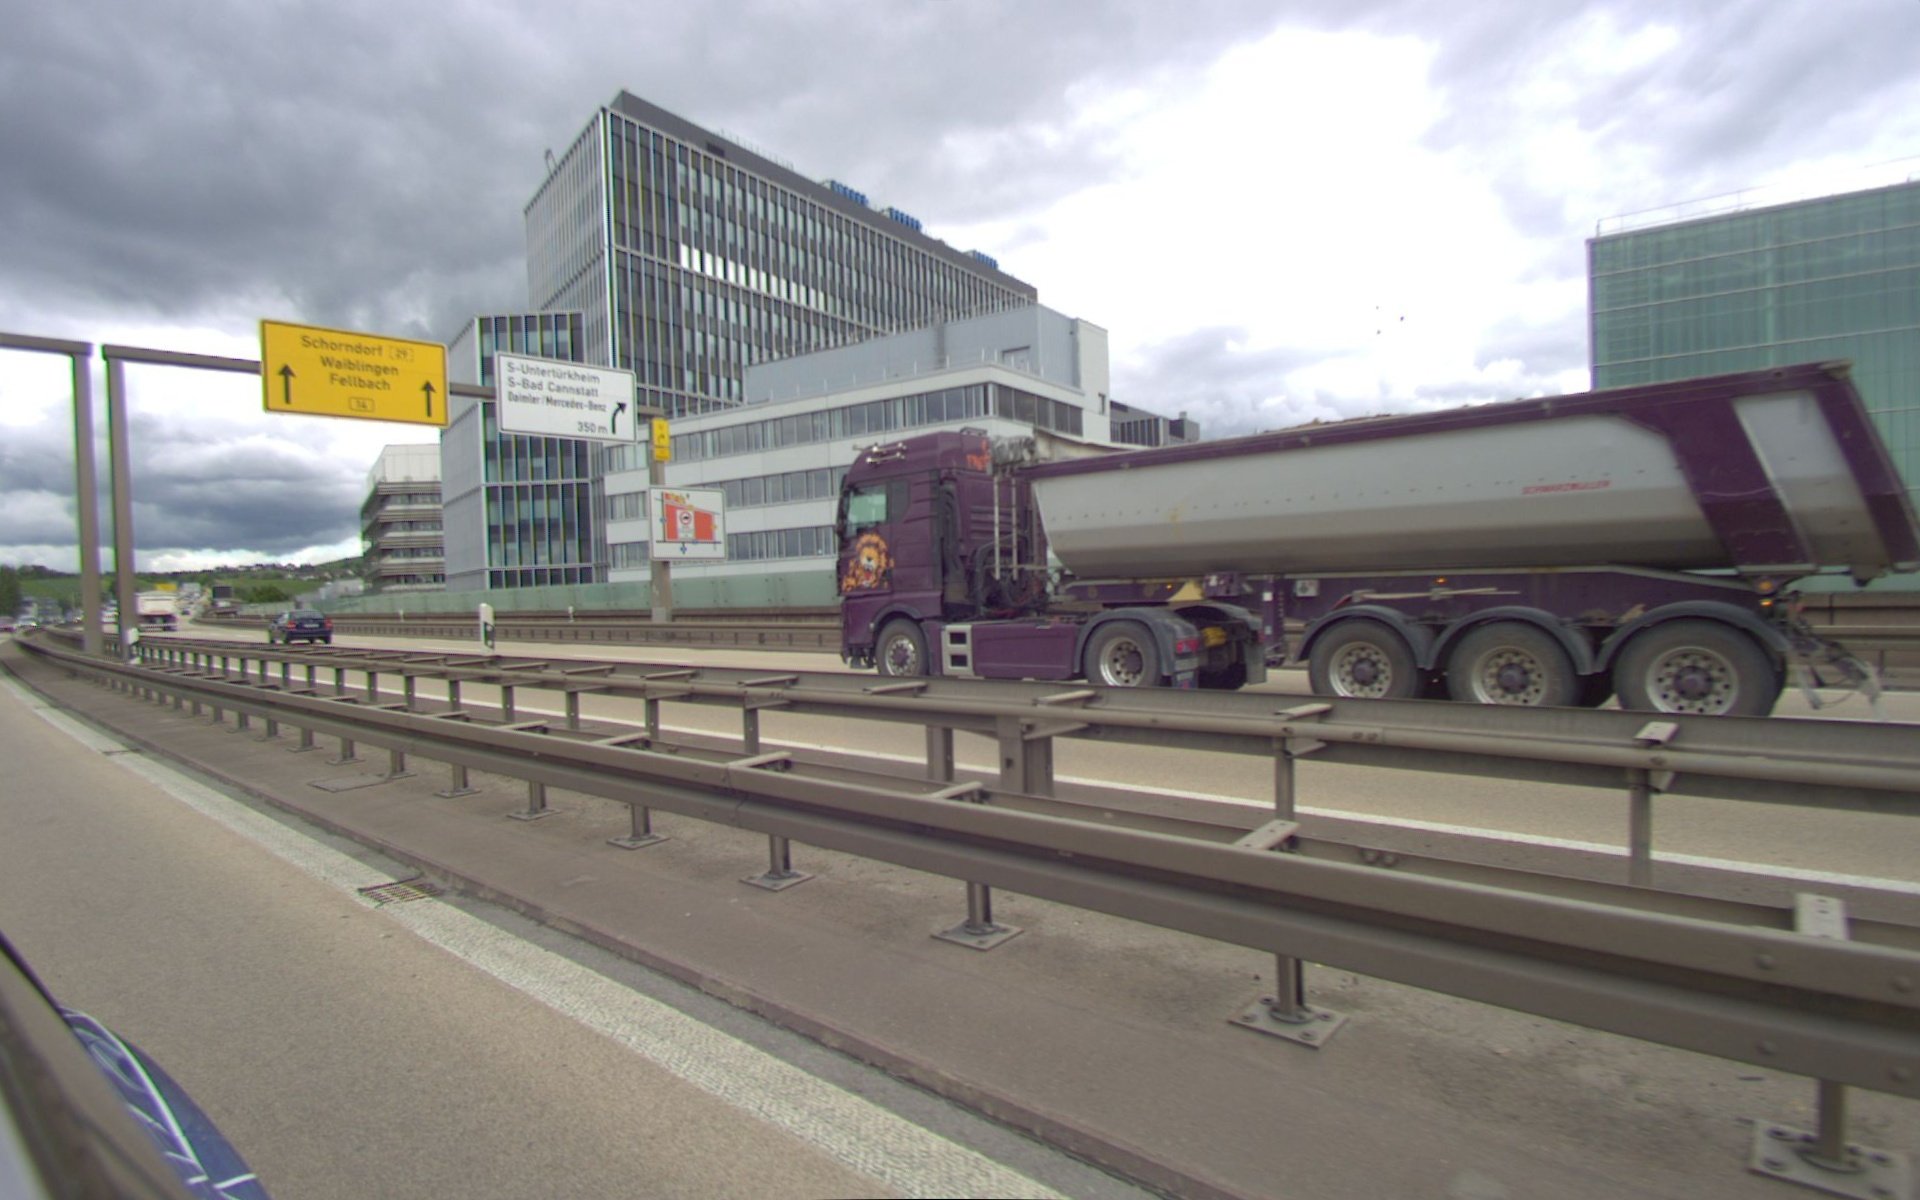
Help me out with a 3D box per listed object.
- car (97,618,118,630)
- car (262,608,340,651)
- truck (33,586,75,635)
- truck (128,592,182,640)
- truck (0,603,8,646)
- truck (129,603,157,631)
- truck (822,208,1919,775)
[{"bbox_3d":[-126.349,3.584,149.935,1.971,1.618,4.810,-1,0,-45],"label":"car"},{"bbox_3d":[-27.558,1.184,42.276,1.970,1.687,4.412,-1,0,-43],"label":"car"},{"bbox_3d":[-90.567,1.047,101.153,3.020,4.597,12.085,-1,0,-42],"label":"truck"},{"bbox_3d":[-68.719,1.309,86.248,3.019,3.805,12.536,-1,0,-41],"label":"truck"},{"bbox_3d":[-76.117,1.875,78.592,3.020,3.211,8.313,-1,0,-42],"label":"truck"},{"bbox_3d":[-123.181,2.484,152.703,3.017,4.096,8.682,-1,0,-37],"label":"truck"},{"bbox_3d":[3.380,-0.689,11.586,12.018,3.838,2.780,-1,0,42],"label":"truck"}]
